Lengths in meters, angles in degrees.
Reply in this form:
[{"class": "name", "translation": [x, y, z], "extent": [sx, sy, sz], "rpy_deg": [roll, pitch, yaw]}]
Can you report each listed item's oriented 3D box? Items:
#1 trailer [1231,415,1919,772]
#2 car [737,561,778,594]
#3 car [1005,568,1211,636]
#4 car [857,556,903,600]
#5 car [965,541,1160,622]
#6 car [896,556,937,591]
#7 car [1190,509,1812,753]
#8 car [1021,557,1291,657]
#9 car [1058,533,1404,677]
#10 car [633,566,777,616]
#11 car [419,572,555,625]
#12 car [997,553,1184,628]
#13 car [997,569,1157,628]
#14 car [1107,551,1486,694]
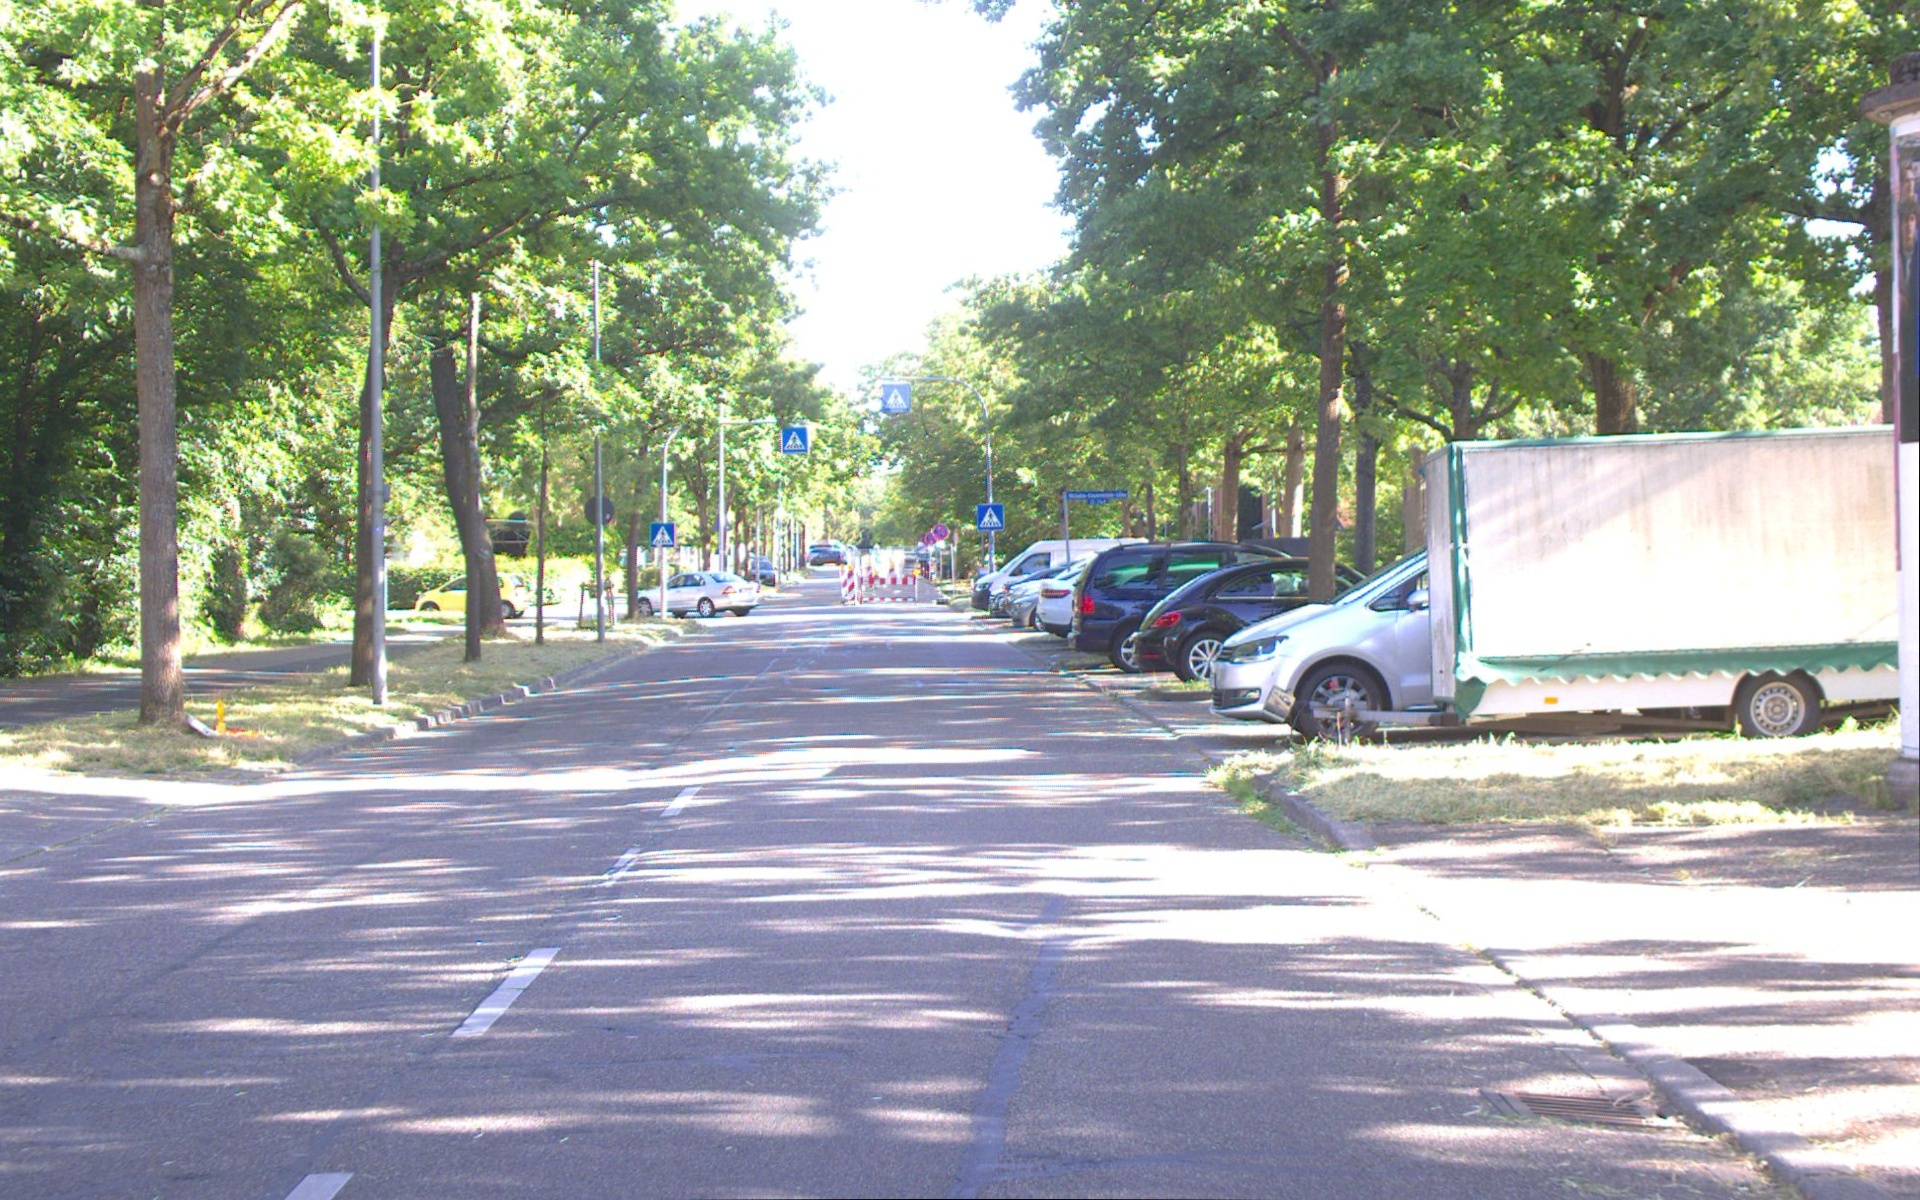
[{"class": "trailer", "translation": [4.962, -0.074, 25.023], "extent": [5.775, 2.310, 1.686], "rpy_deg": [-2, 0, 1]}, {"class": "car", "translation": [-10.428, -1.163, 177.539], "extent": [1.993, 1.711, 4.000], "rpy_deg": [0, 1, -2]}, {"class": "car", "translation": [3.280, 0.035, 76.803], "extent": [4.445, 1.385, 1.911], "rpy_deg": [-1, 1, -1]}, {"class": "car", "translation": [-3.520, -0.963, 150.463], "extent": [1.993, 1.926, 4.000], "rpy_deg": [0, 1, -2]}, {"class": "car", "translation": [2.800, -0.506, 94.712], "extent": [5.186, 2.098, 2.083], "rpy_deg": [-1, 0, -2]}, {"class": "car", "translation": [-2.170, -1.310, 171.423], "extent": [1.993, 1.711, 4.000], "rpy_deg": [0, 1, -2]}, {"class": "car", "translation": [4.285, 0.231, 27.792], "extent": [4.642, 1.716, 1.987], "rpy_deg": [-2, 0, 0]}, {"class": "car", "translation": [3.474, 0.113, 61.648], "extent": [4.670, 1.575, 1.917], "rpy_deg": [-2, 1, 0]}, {"class": "car", "translation": [3.680, 0.056, 47.317], "extent": [4.530, 1.795, 1.936], "rpy_deg": [-2, 0, -1]}, {"class": "car", "translation": [-7.899, -0.277, 106.623], "extent": [3.992, 1.479, 1.997], "rpy_deg": [0, 0, 26]}, {"class": "car", "translation": [-15.122, -0.051, 109.950], "extent": [3.987, 1.650, 2.000], "rpy_deg": [-1, 0, 3]}, {"class": "car", "translation": [3.188, -0.246, 84.407], "extent": [4.384, 1.645, 1.851], "rpy_deg": [-2, 1, -3]}, {"class": "car", "translation": [2.934, -0.052, 86.940], "extent": [3.987, 1.428, 1.901], "rpy_deg": [-1, 1, 1]}, {"class": "car", "translation": [3.924, 0.248, 40.686], "extent": [4.245, 1.514, 2.078], "rpy_deg": [-2, 0, 0]}]
